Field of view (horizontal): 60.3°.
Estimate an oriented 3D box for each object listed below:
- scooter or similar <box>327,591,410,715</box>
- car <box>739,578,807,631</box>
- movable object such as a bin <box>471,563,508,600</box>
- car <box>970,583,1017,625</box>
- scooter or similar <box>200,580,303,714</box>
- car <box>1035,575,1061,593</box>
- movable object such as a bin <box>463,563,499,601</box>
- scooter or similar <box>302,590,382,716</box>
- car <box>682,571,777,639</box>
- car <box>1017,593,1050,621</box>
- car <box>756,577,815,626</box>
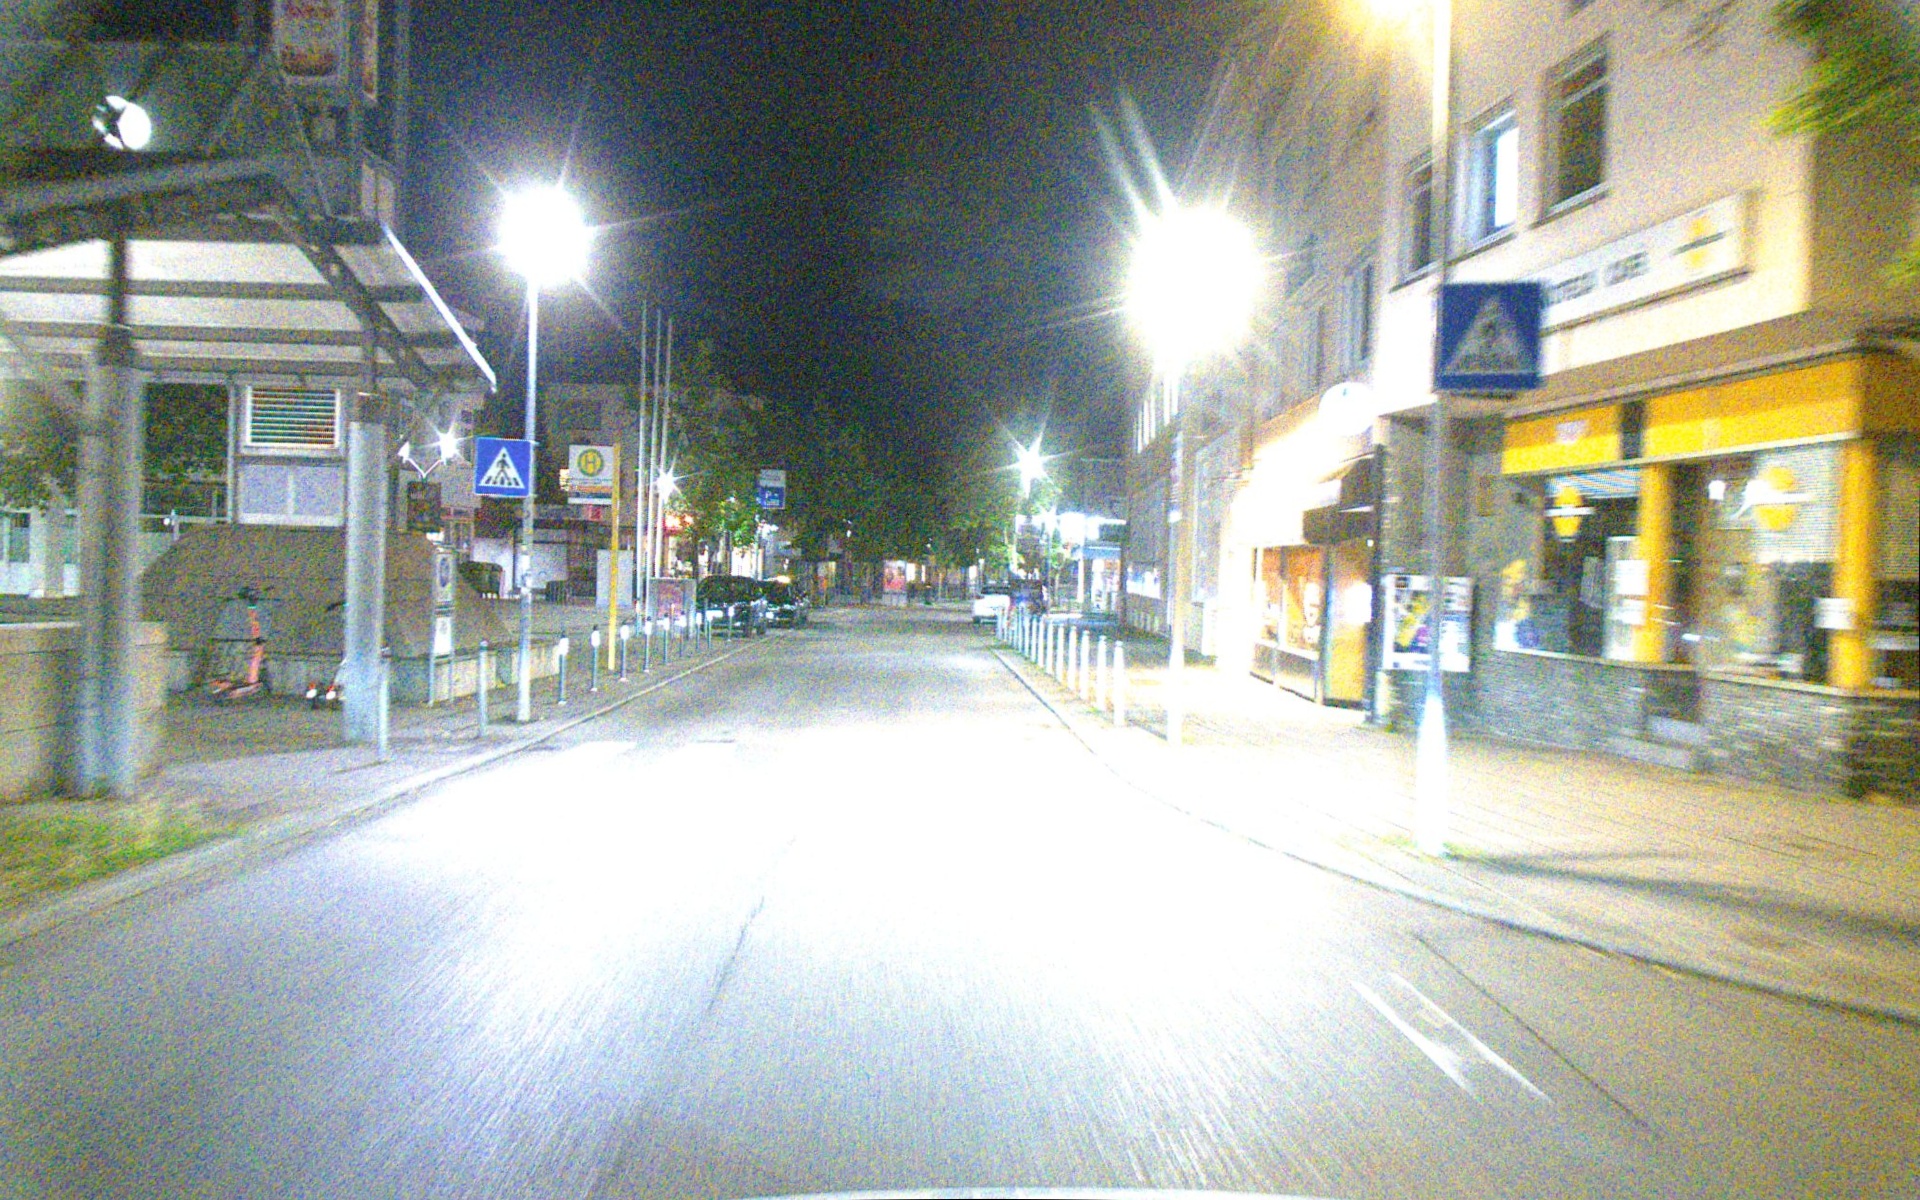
[{"bbox_3d":[-6.600,0.567,18.507,0.361,1.286,1.449,2,2,0],"label":"scooter or similar"},{"bbox_3d":[-6.015,0.115,53.688,1.867,1.568,4.779,2,1,-3],"label":"car"},{"bbox_3d":[-19.439,-0.746,68.394,1.108,1.483,1.228,2,0,1],"label":"movable object such as a bin"},{"bbox_3d":[1.308,0.167,63.133,1.706,1.513,4.637,1,0,2],"label":"car"},{"bbox_3d":[-7.895,0.503,18.480,0.583,1.404,1.352,1,2,-1],"label":"scooter or similar"},{"bbox_3d":[9.103,-1.671,170.237,1.975,1.720,5.008,3,1,10],"label":"car"},{"bbox_3d":[-19.441,-0.722,67.089,1.015,1.469,1.286,2,0,1],"label":"movable object such as a bin"},{"bbox_3d":[-6.896,0.561,18.497,0.310,1.310,1.449,2,2,0],"label":"scooter or similar"},{"bbox_3d":[-5.941,0.110,43.081,1.734,1.601,4.483,2,0,1],"label":"car"},{"bbox_3d":[4.129,0.357,92.524,1.698,1.466,4.499,1,1,4],"label":"car"},{"bbox_3d":[-6.303,0.009,60.215,1.723,1.666,4.814,1,1,-2],"label":"car"}]
